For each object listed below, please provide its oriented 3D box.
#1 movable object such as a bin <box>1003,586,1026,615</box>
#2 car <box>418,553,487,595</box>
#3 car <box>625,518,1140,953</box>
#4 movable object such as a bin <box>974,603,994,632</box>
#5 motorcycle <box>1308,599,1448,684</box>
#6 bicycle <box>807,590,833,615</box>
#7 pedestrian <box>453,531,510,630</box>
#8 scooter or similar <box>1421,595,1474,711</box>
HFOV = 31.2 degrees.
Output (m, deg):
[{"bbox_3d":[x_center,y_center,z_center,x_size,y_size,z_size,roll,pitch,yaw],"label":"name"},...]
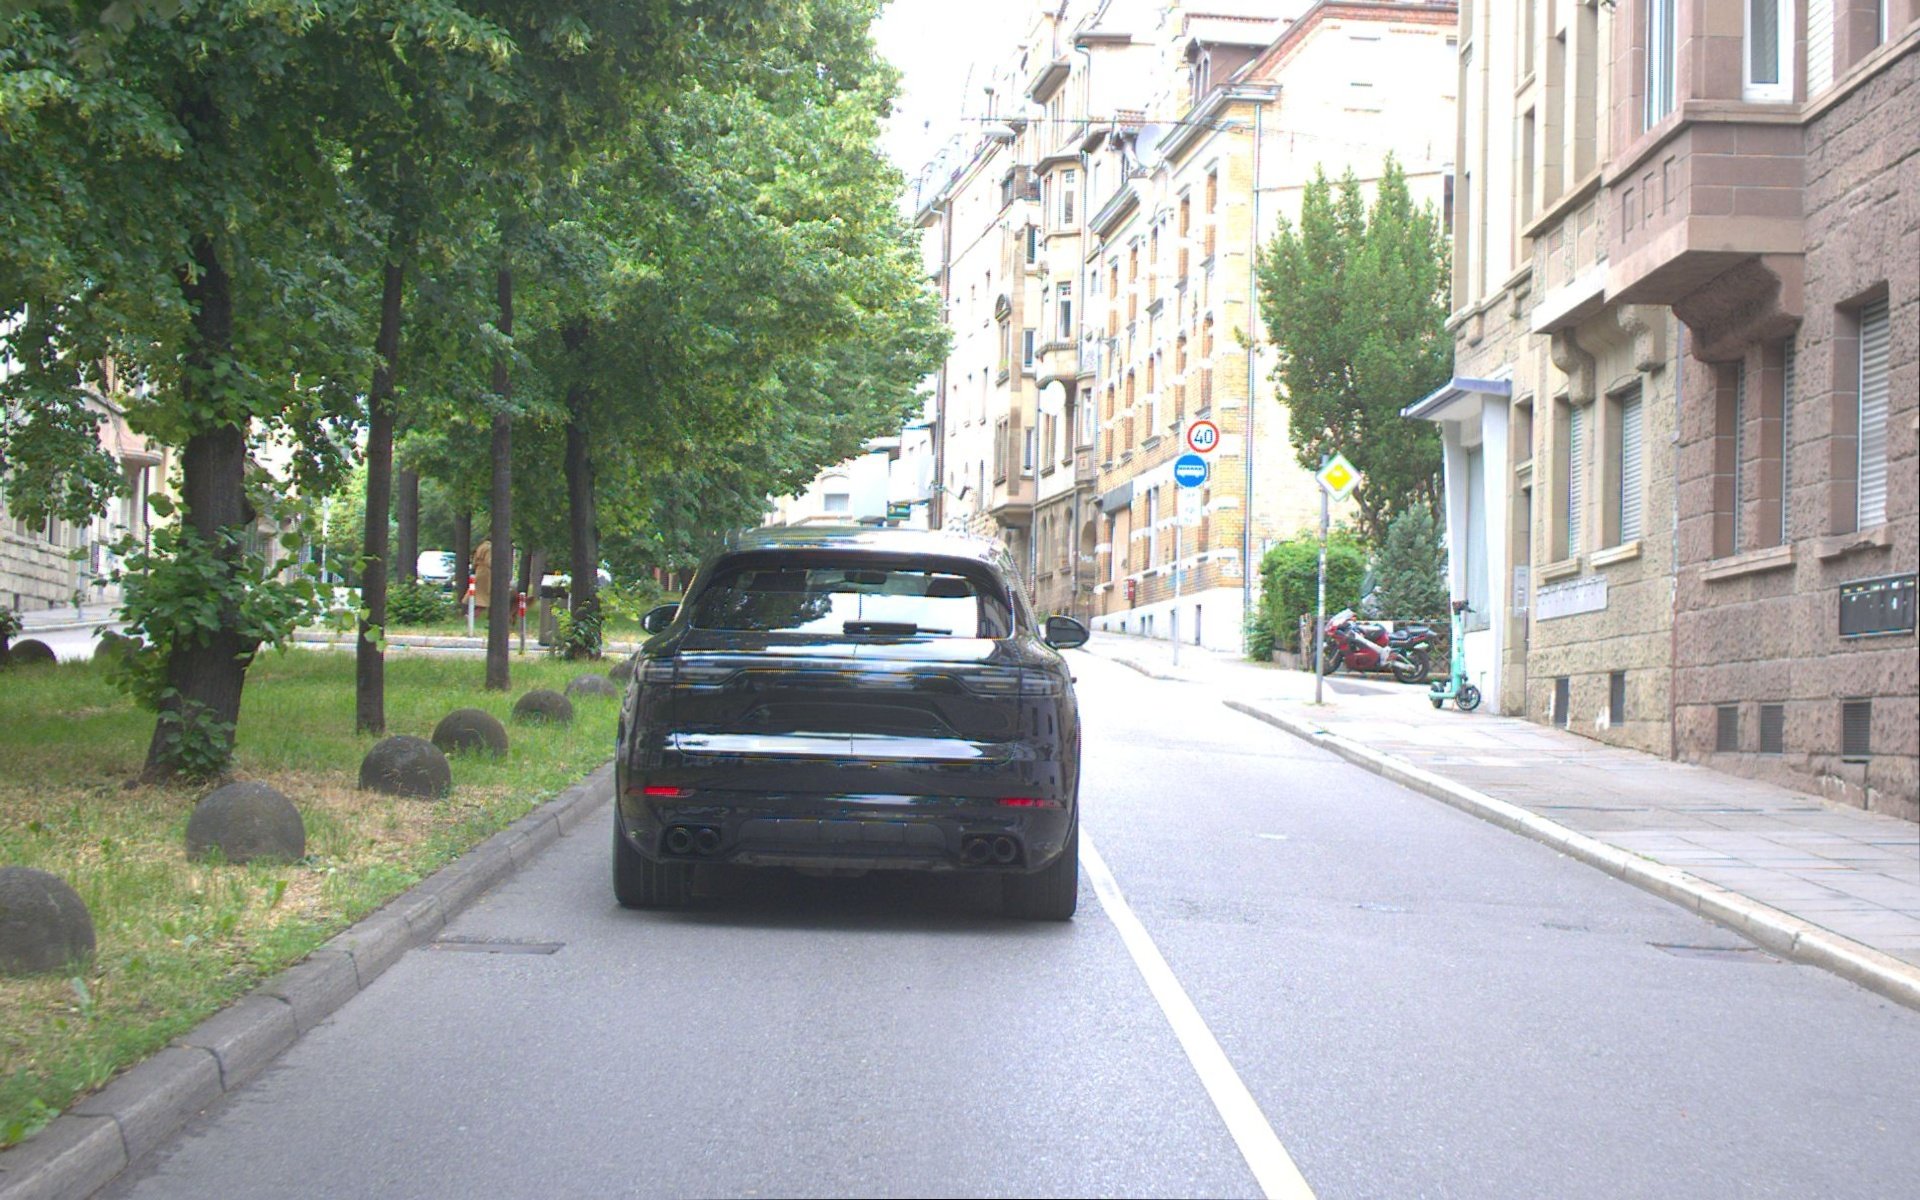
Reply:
[{"bbox_3d":[1.704,0.016,107.545,0.594,0.901,0.563,3,0,-6],"label":"movable object such as a bin"},{"bbox_3d":[-17.573,-0.922,119.151,1.708,1.377,4.669,0,1,0],"label":"car"},{"bbox_3d":[-0.407,0.508,15.768,1.993,1.660,4.001,2,1,-3],"label":"car"},{"bbox_3d":[0.799,0.586,115.822,0.594,0.901,0.503,3,-4,-6],"label":"movable object such as a bin"},{"bbox_3d":[6.880,0.678,56.649,2.055,1.263,1.010,3,0,-5],"label":"motorcycle"},{"bbox_3d":[-6.817,0.115,167.181,0.879,1.125,2.980,3,-2,-8],"label":"bicycle"},{"bbox_3d":[-8.493,-0.340,61.009,0.833,1.706,1.123,-2,-2,-1],"label":"pedestrian"},{"bbox_3d":[5.427,0.584,38.289,0.410,1.206,1.145,-1,3,-1],"label":"scooter or similar"}]
